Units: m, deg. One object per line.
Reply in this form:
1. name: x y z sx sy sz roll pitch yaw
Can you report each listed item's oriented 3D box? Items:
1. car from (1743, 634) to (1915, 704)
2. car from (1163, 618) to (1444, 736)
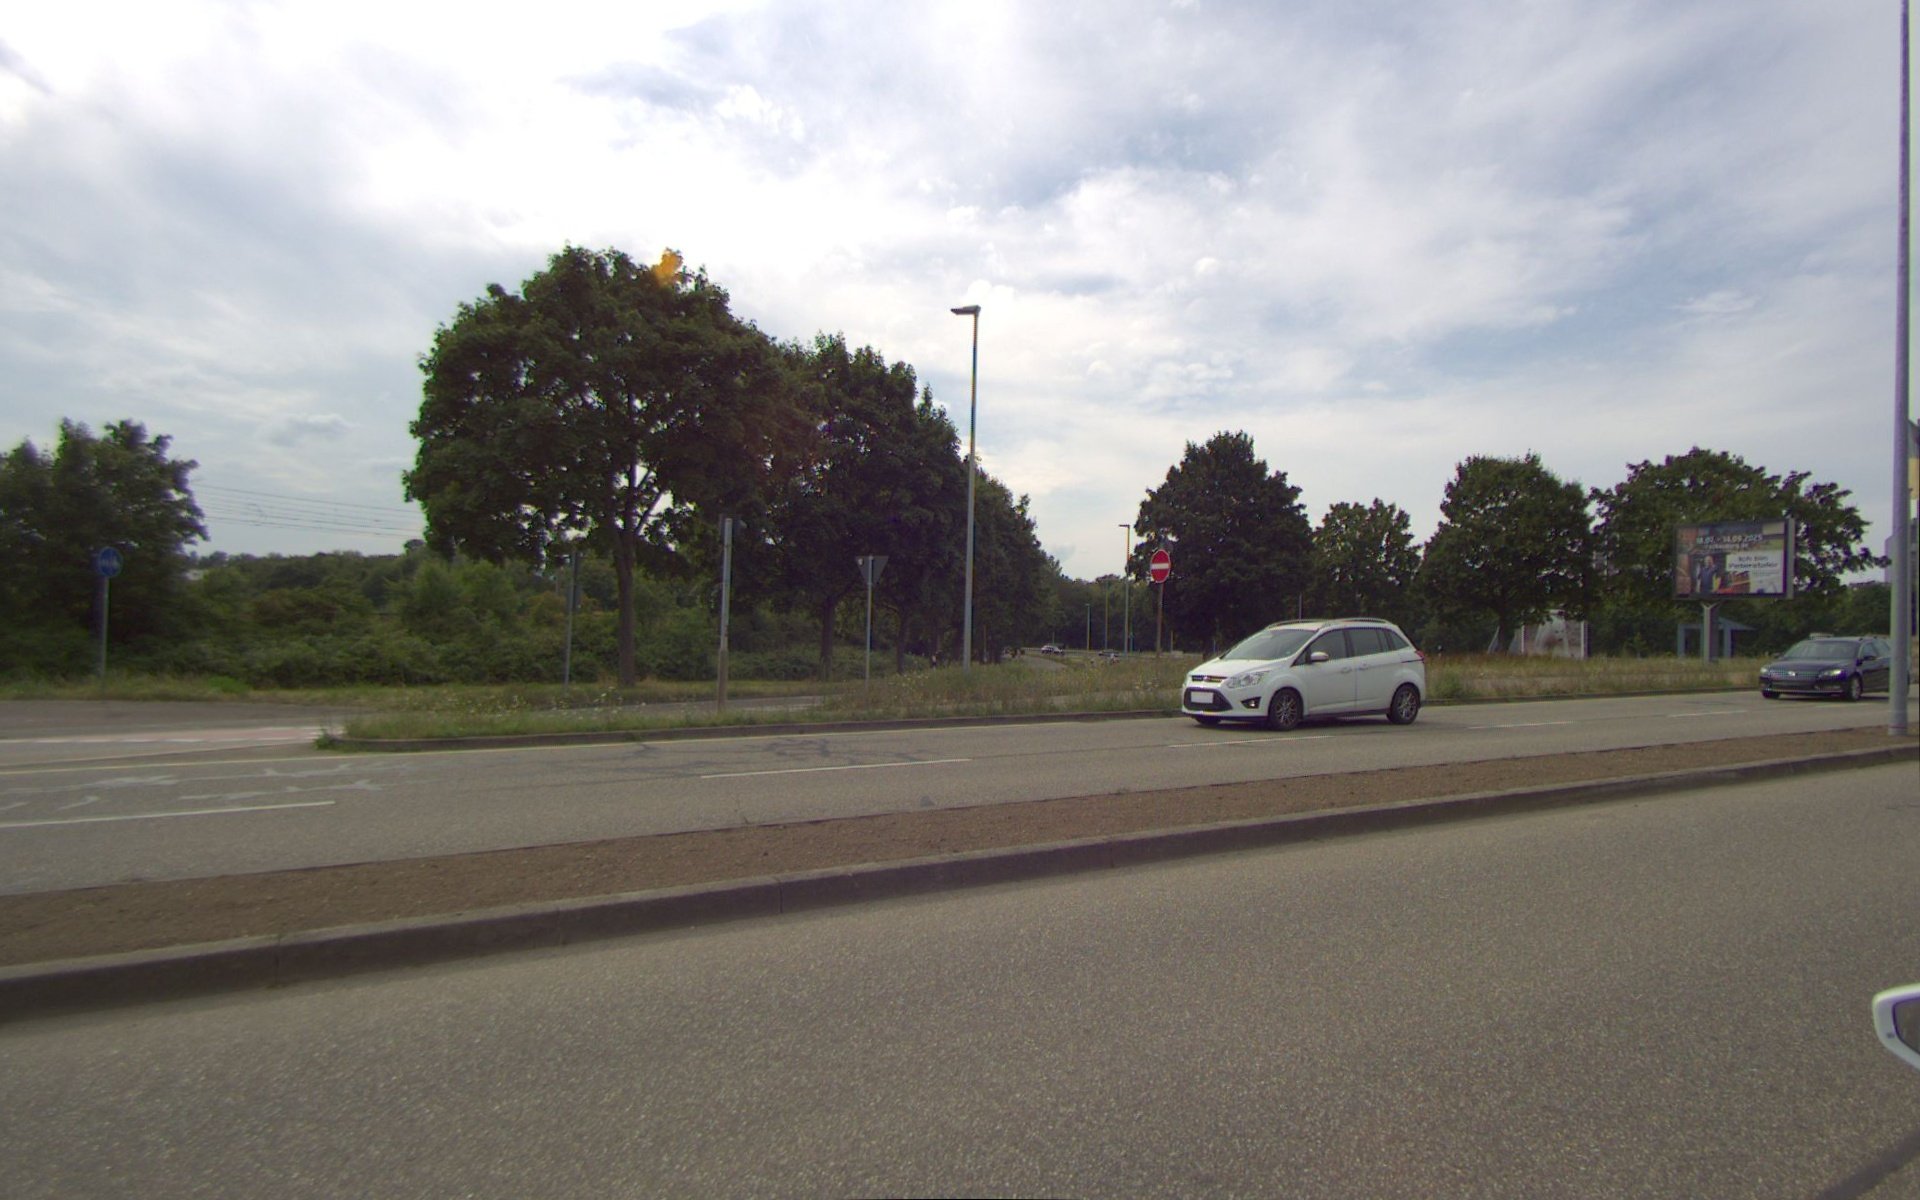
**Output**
1. car: 21.076 1.623 24.330 4.686 1.552 1.760 2 -2 -31
2. car: 5.604 1.189 16.217 4.585 1.675 1.760 2 -3 -31
